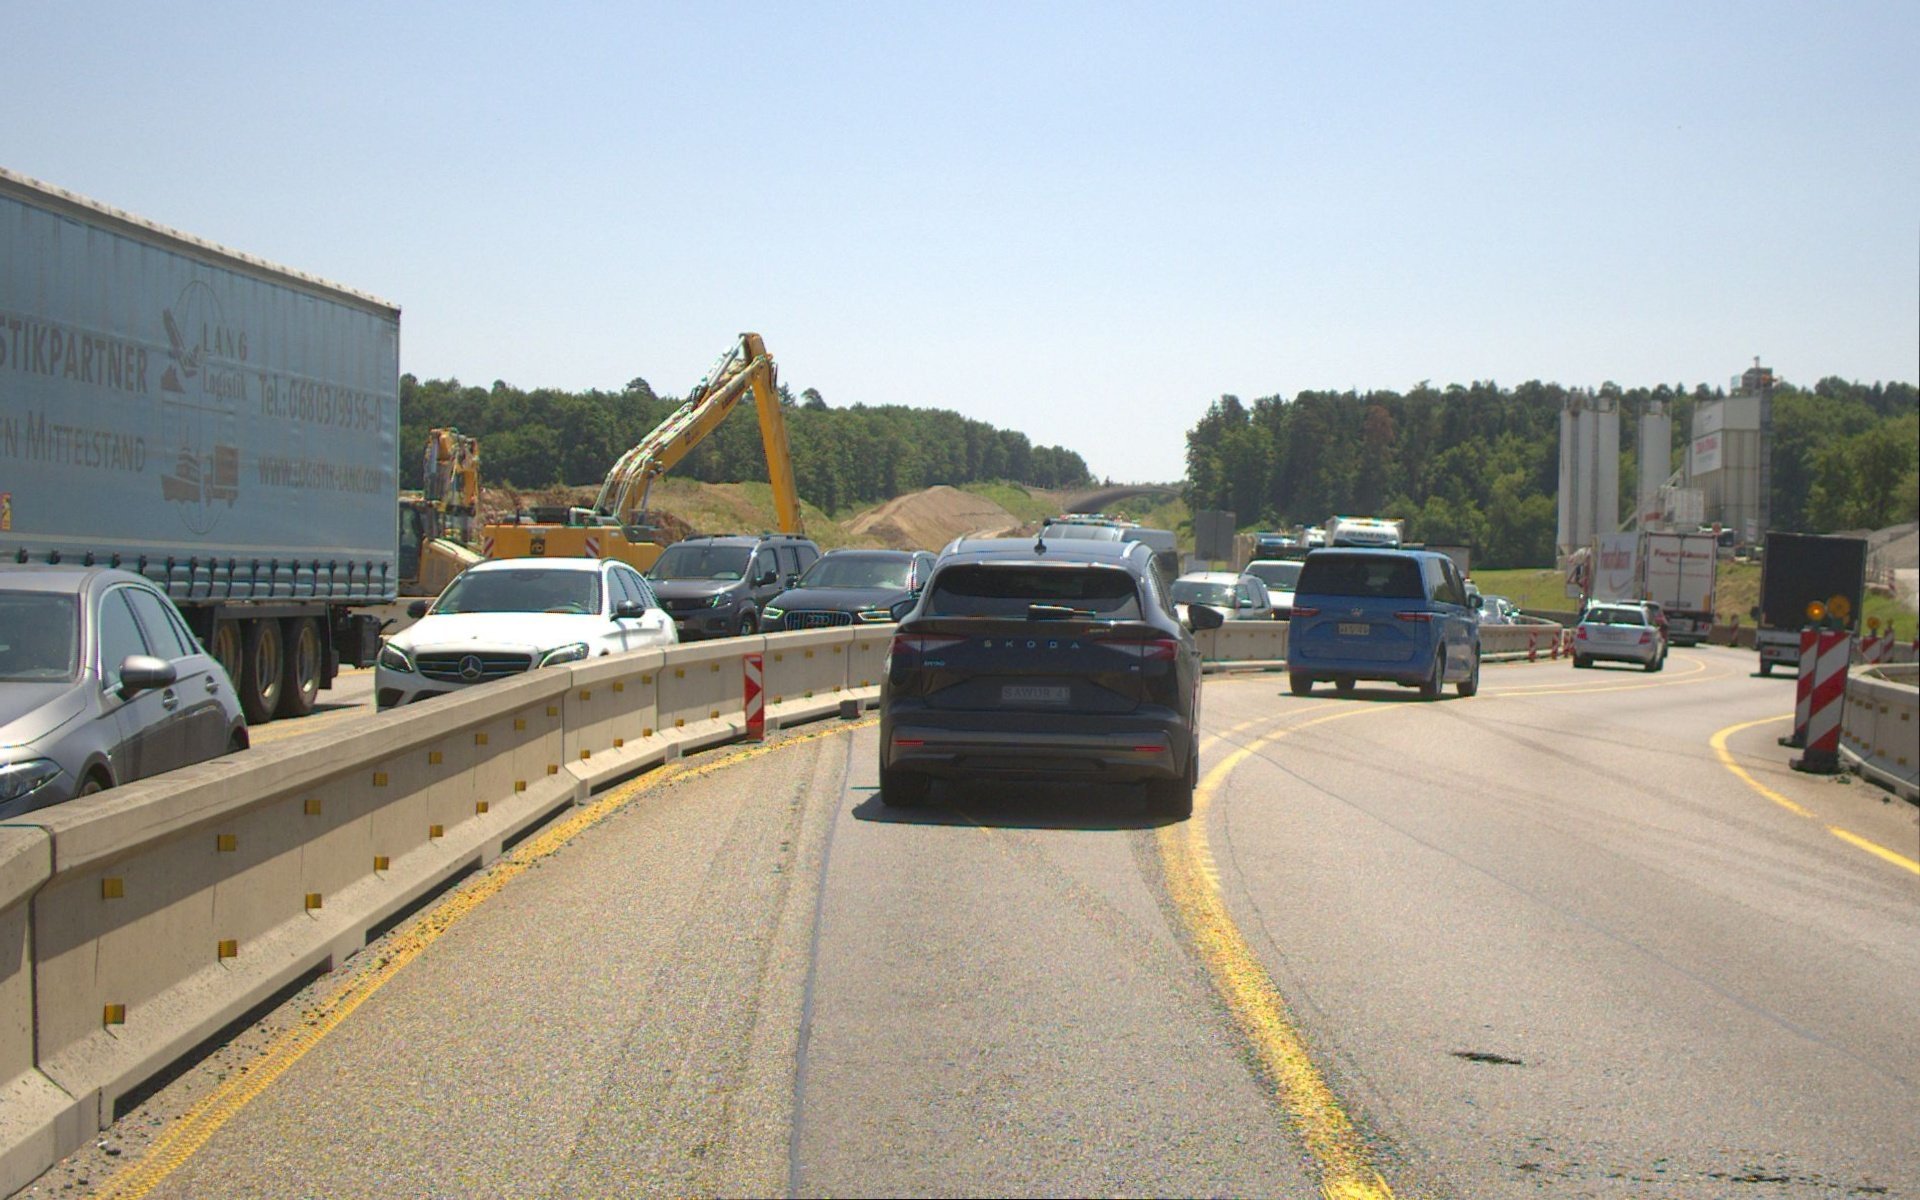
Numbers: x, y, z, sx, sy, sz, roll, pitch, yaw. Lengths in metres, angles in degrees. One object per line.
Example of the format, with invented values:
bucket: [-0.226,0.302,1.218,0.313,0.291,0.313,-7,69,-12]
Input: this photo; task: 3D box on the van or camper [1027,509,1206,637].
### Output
van or camper: [3.328,-0.553,71.451,2.100,2.532,6.299,1,0,18]

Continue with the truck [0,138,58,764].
truck: [-7.799,-0.937,20.907,2.914,4.114,6.139,0,1,1]

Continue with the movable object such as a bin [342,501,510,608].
movable object such as a bin: [-15.750,-1.388,101.713,3.665,3.015,4.991,1,2,7]

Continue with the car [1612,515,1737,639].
car: [26.151,-0.857,126.180,3.437,4.087,9.194,5,1,7]

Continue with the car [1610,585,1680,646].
car: [19.945,0.430,100.165,1.822,1.638,3.864,3,1,10]

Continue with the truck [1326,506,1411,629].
truck: [14.688,-1.175,124.010,2.771,4.245,6.198,2,1,6]

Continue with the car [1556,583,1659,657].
car: [14.334,0.406,75.908,2.046,1.521,5.063,1,1,13]

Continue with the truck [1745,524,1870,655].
truck: [19.800,-0.254,80.536,2.674,2.935,5.617,1,0,13]

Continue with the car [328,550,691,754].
car: [-3.673,0.366,28.879,2.017,1.439,4.587,1,2,6]

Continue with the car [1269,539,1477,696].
car: [5.375,0.191,44.345,1.995,1.837,3.997,3,1,16]

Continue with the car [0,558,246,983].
car: [-4.093,0.574,13.985,1.589,1.436,4.125,0,1,-1]

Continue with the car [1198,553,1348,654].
car: [6.368,0.095,69.422,1.874,1.866,5.053,3,0,18]

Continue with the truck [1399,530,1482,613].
truck: [27.038,-1.647,193.824,3.476,4.206,10.375,6,2,4]

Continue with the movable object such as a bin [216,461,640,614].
movable object such as a bin: [-10.655,-1.266,68.506,7.922,2.424,3.710,5,1,37]

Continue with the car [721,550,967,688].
car: [-1.364,0.198,42.581,1.769,1.602,4.707,0,1,15]

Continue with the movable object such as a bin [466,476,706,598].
movable object such as a bin: [-8.490,-1.400,78.677,3.295,2.432,5.434,5,2,19]

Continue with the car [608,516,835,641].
car: [-3.479,-0.325,51.125,1.777,1.759,4.706,0,1,17]

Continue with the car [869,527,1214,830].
car: [0.430,0.394,21.029,1.842,1.576,4.000,3,2,-1]

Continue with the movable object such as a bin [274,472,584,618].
movable object such as a bin: [-11.624,-1.200,75.199,6.059,2.753,2.807,4,1,27]

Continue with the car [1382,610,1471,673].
car: [11.649,1.020,85.722,1.727,1.403,4.127,3,1,13]

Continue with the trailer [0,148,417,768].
trailer: [-7.455,-1.061,27.836,2.914,4.114,13.915,0,1,4]
